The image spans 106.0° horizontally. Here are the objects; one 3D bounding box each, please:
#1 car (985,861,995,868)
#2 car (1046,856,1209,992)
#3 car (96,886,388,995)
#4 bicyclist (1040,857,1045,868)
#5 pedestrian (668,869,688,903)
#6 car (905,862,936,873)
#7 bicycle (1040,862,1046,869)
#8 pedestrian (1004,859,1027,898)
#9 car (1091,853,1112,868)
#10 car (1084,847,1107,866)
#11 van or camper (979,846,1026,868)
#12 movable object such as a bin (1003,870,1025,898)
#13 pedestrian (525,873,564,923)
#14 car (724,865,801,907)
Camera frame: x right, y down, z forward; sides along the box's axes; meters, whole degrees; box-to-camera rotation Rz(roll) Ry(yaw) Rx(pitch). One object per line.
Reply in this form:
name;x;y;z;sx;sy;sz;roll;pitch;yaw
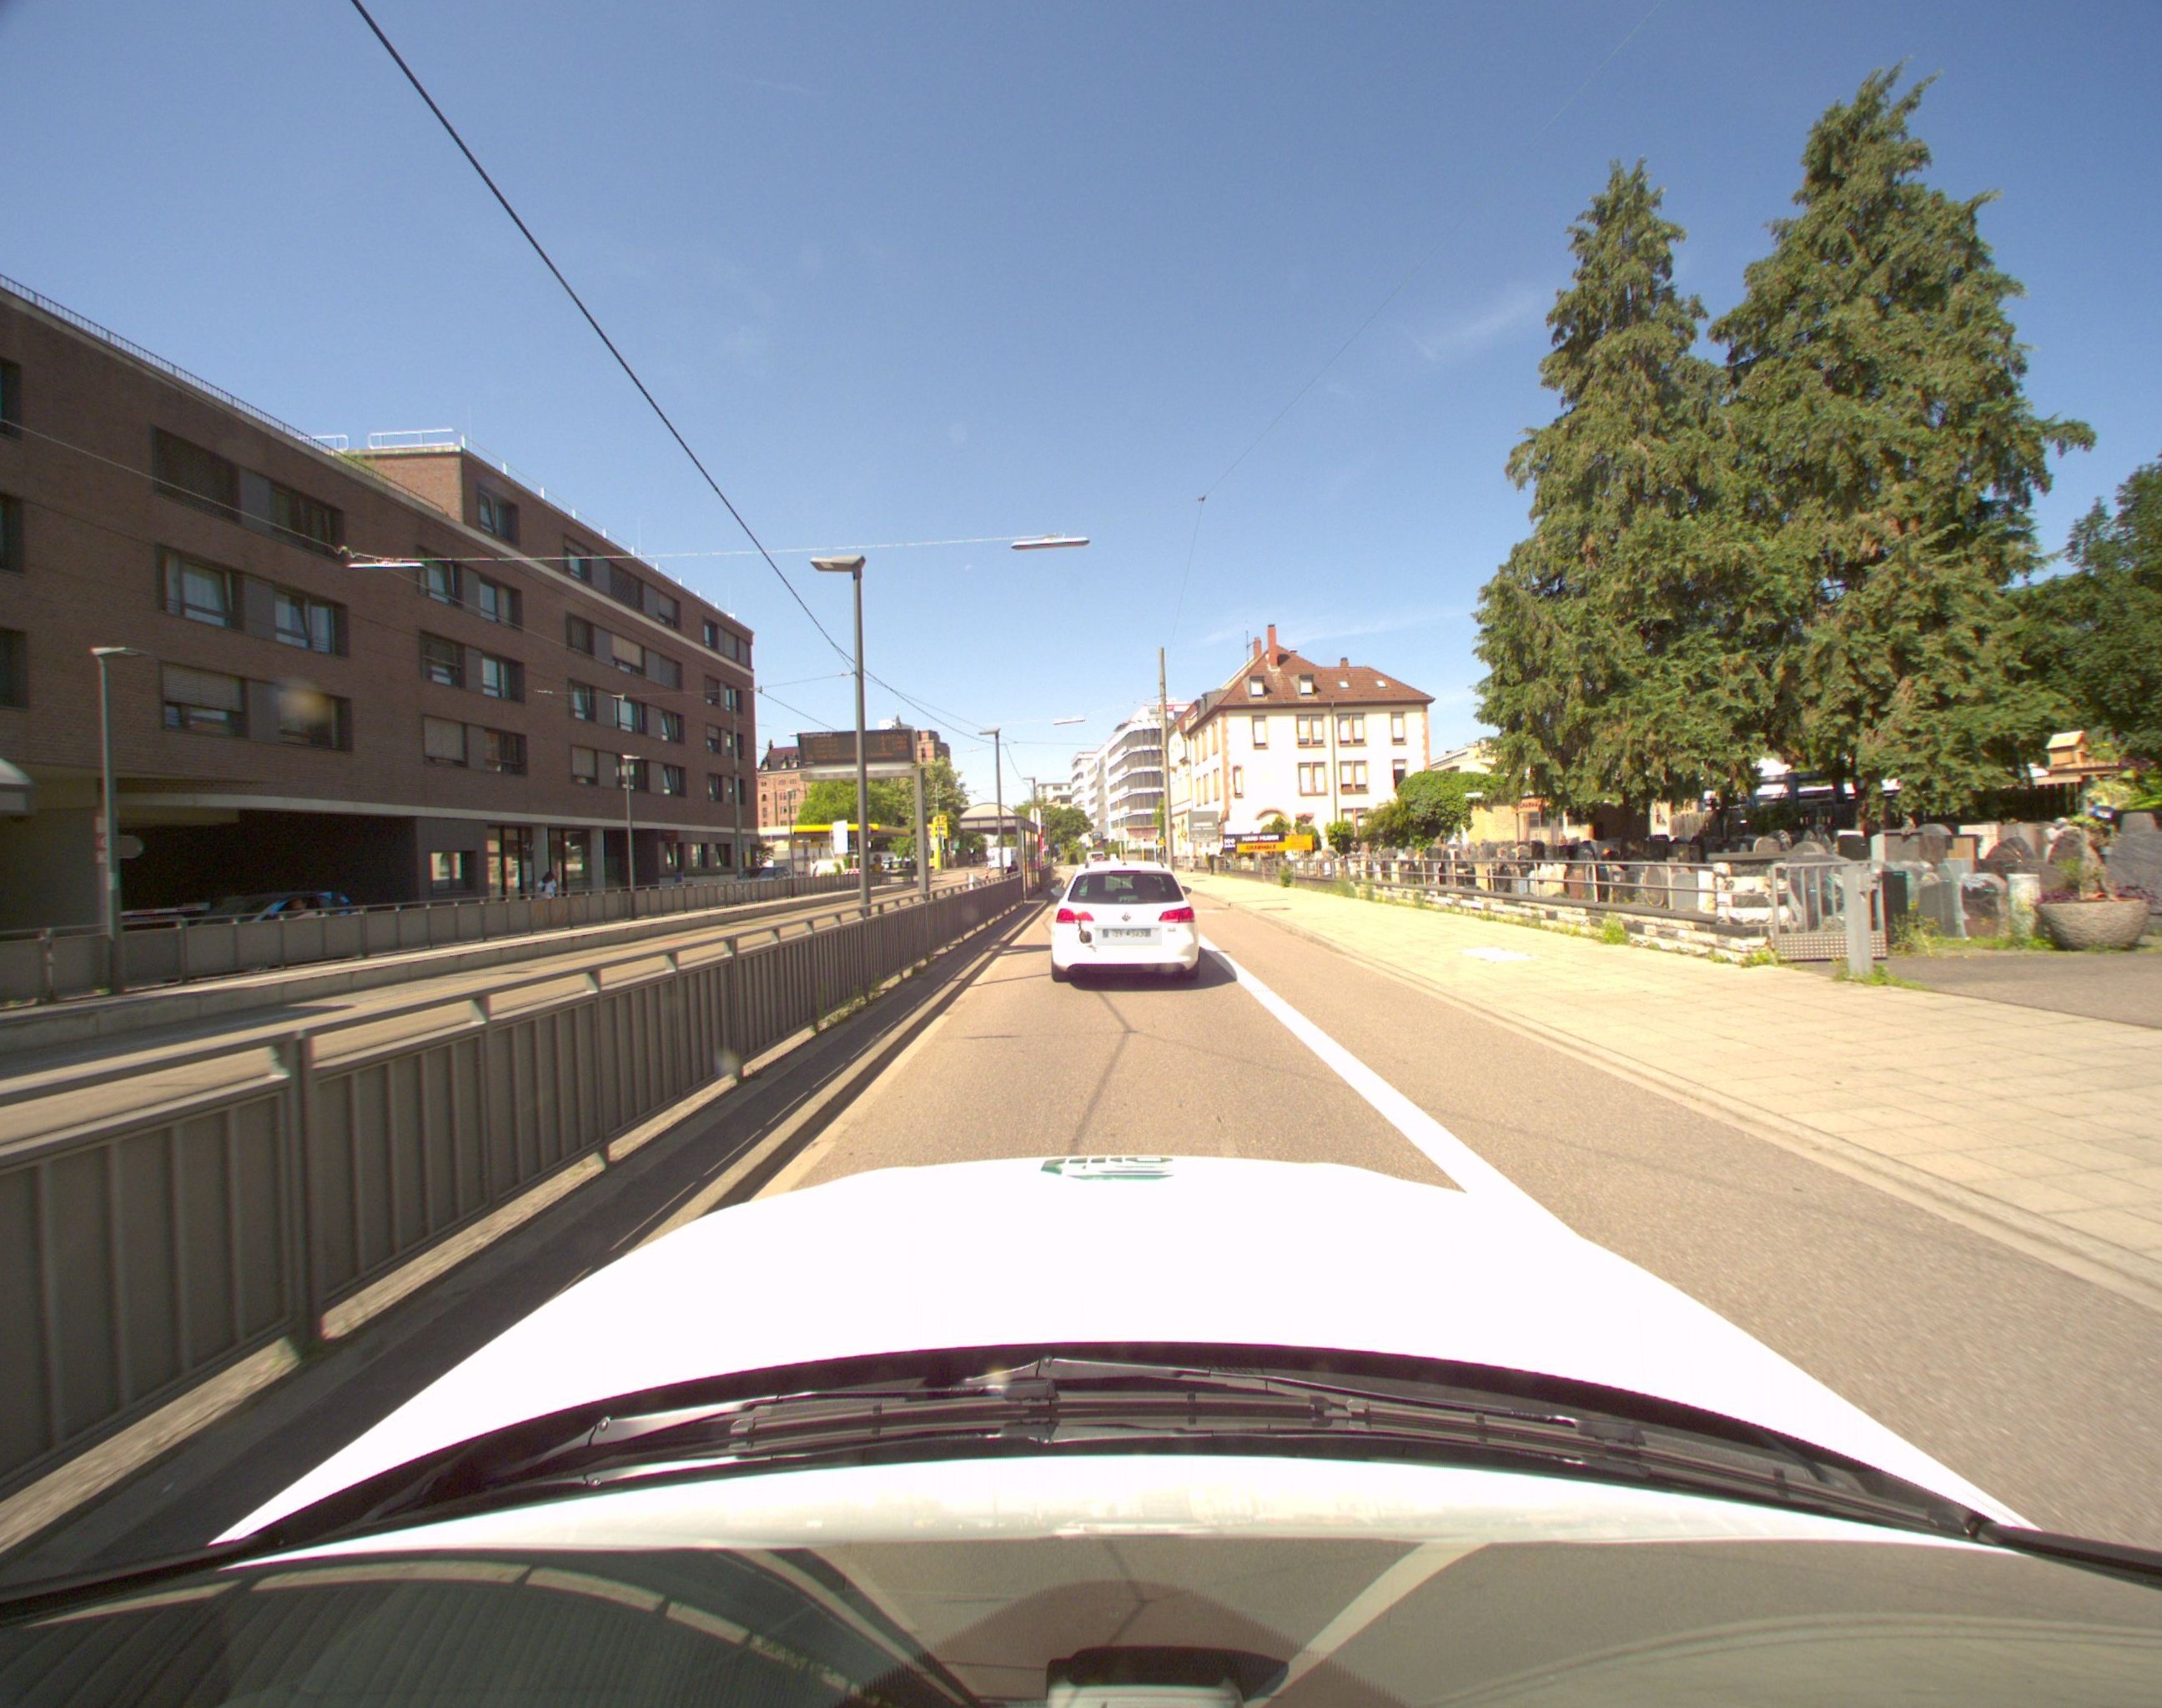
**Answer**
car;-20.625;2.340;184.861;1.741;1.571;3.889;-3;-1;-1
car;0.530;0.758;11.028;1.748;1.442;4.413;-1;0;1
car;-15.485;1.508;15.335;1.705;1.622;3.580;-1;0;2
bicyclist;-5.963;1.328;127.098;0.785;1.629;0.736;0;-1;-6
pedestrian;-20.279;1.580;40.982;0.579;1.664;0.699;-2;0;-1
car;-25.498;2.133;129.229;1.924;1.625;4.608;-2;-1;38
bicycle;-5.928;1.789;127.246;0.810;1.078;2.008;-2;0;-6
pedestrian;-2.212;0.811;27.523;0.627;1.255;0.709;-3;0;0
car;2.186;0.713;87.582;1.719;1.443;4.303;-4;0;-6
car;1.633;0.296;94.056;1.974;2.054;5.180;-4;0;-6
van or camper;-10.778;0.404;111.277;6.629;2.967;2.632;0;-1;45
movable object such as a bin;-2.207;0.985;26.928;0.627;0.900;0.489;-3;0;0
pedestrian;-20.023;1.630;30.404;0.841;1.819;0.839;-2;0;1
car;-14.713;1.430;37.866;1.794;1.729;4.190;-1;0;2
